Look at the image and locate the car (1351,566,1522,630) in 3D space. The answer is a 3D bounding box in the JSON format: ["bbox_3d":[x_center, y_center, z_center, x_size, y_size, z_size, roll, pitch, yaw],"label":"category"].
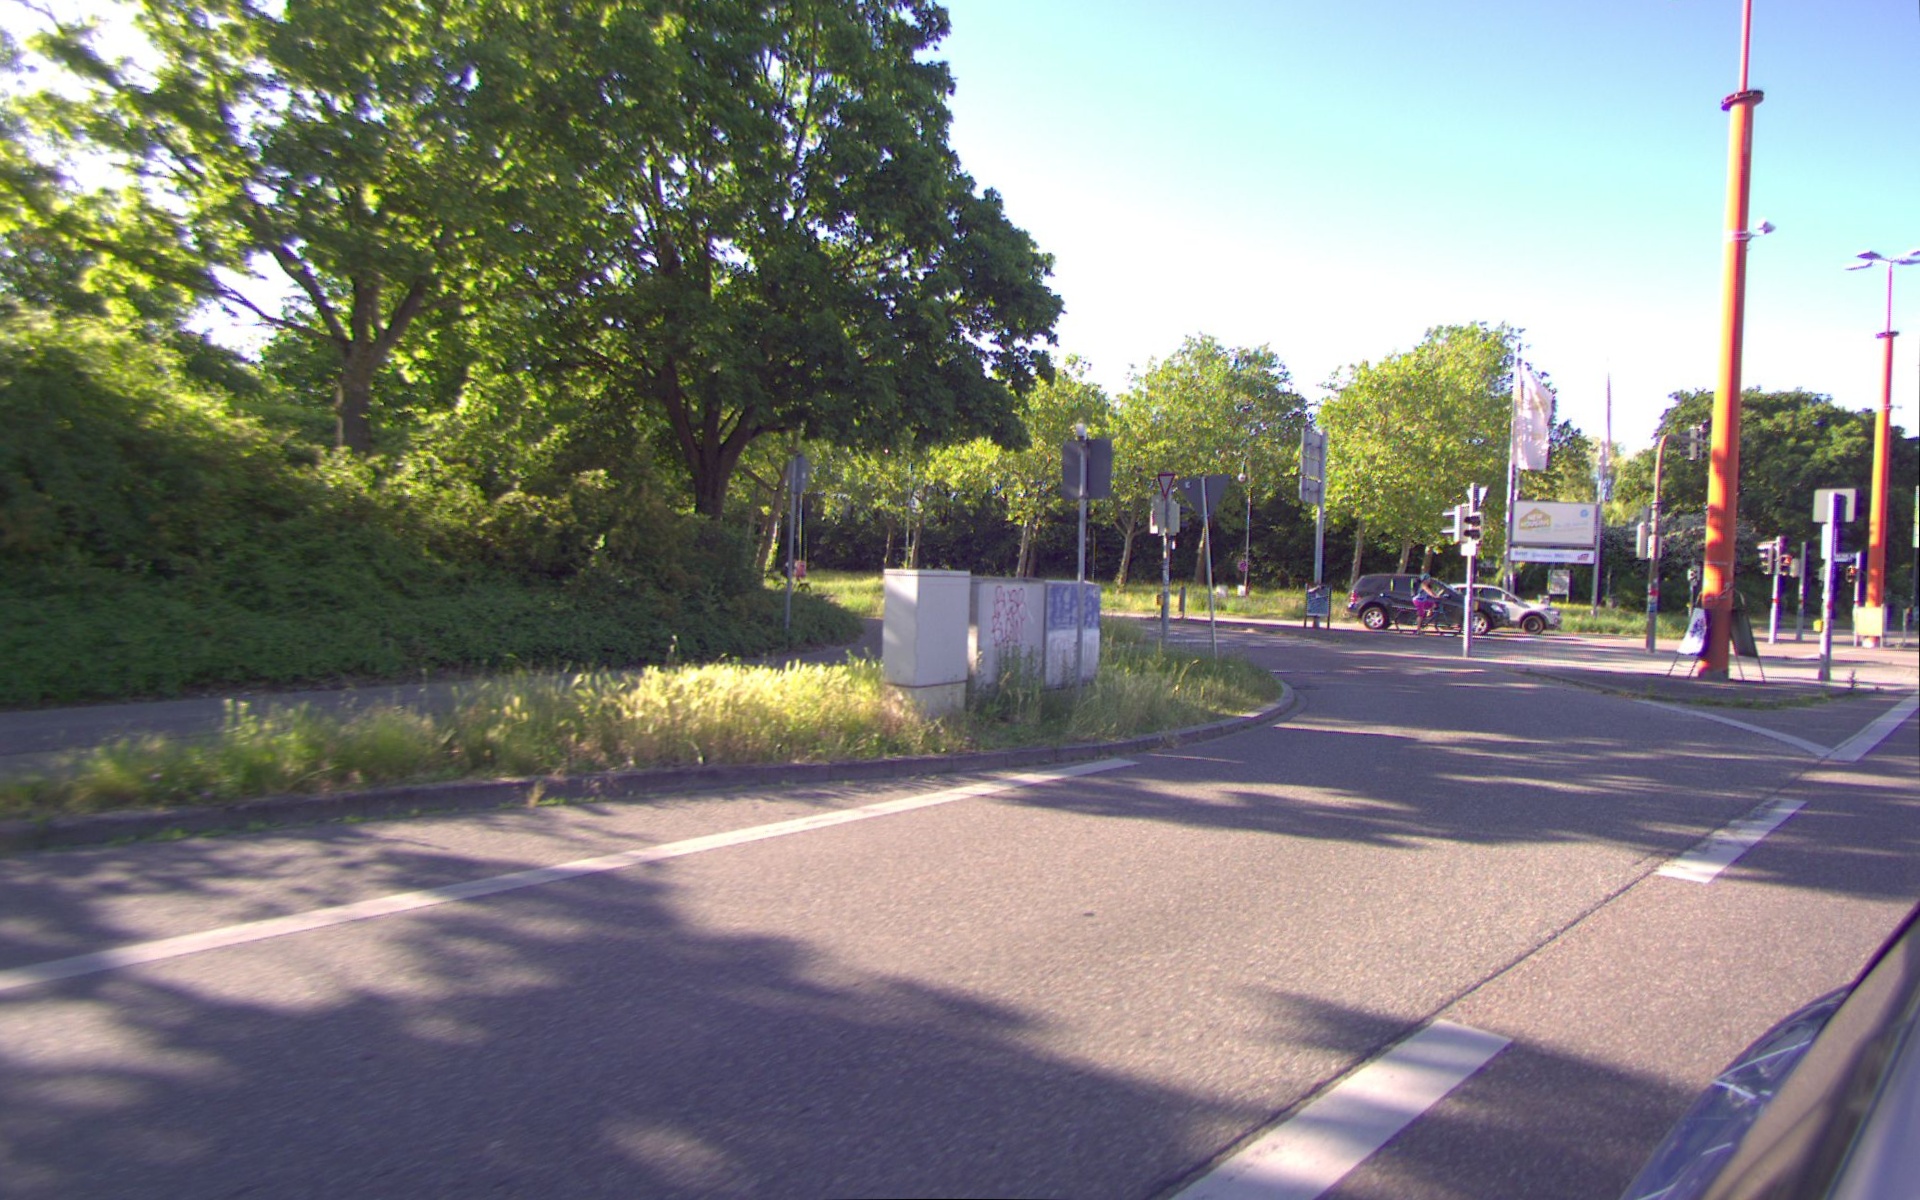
[{"bbox_3d":[14.734,-0.118,31.379,4.617,1.748,1.887,3,2,31],"label":"car"}]

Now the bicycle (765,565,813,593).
[{"bbox_3d":[-6.964,-0.859,41.131,2.002,1.105,0.728,3,2,35],"label":"bicycle"}]

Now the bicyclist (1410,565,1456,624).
[{"bbox_3d":[13.239,-0.156,28.330,0.976,1.576,0.751,3,2,38],"label":"bicyclist"}]

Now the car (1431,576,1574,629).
[{"bbox_3d":[18.005,0.043,33.715,4.057,1.557,1.754,3,2,30],"label":"car"}]

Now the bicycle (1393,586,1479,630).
[{"bbox_3d":[13.292,0.196,28.293,2.005,1.105,0.756,4,3,38],"label":"bicycle"}]

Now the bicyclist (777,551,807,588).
[{"bbox_3d":[-6.823,-1.225,41.026,0.959,1.454,0.728,2,2,35],"label":"bicyclist"}]
